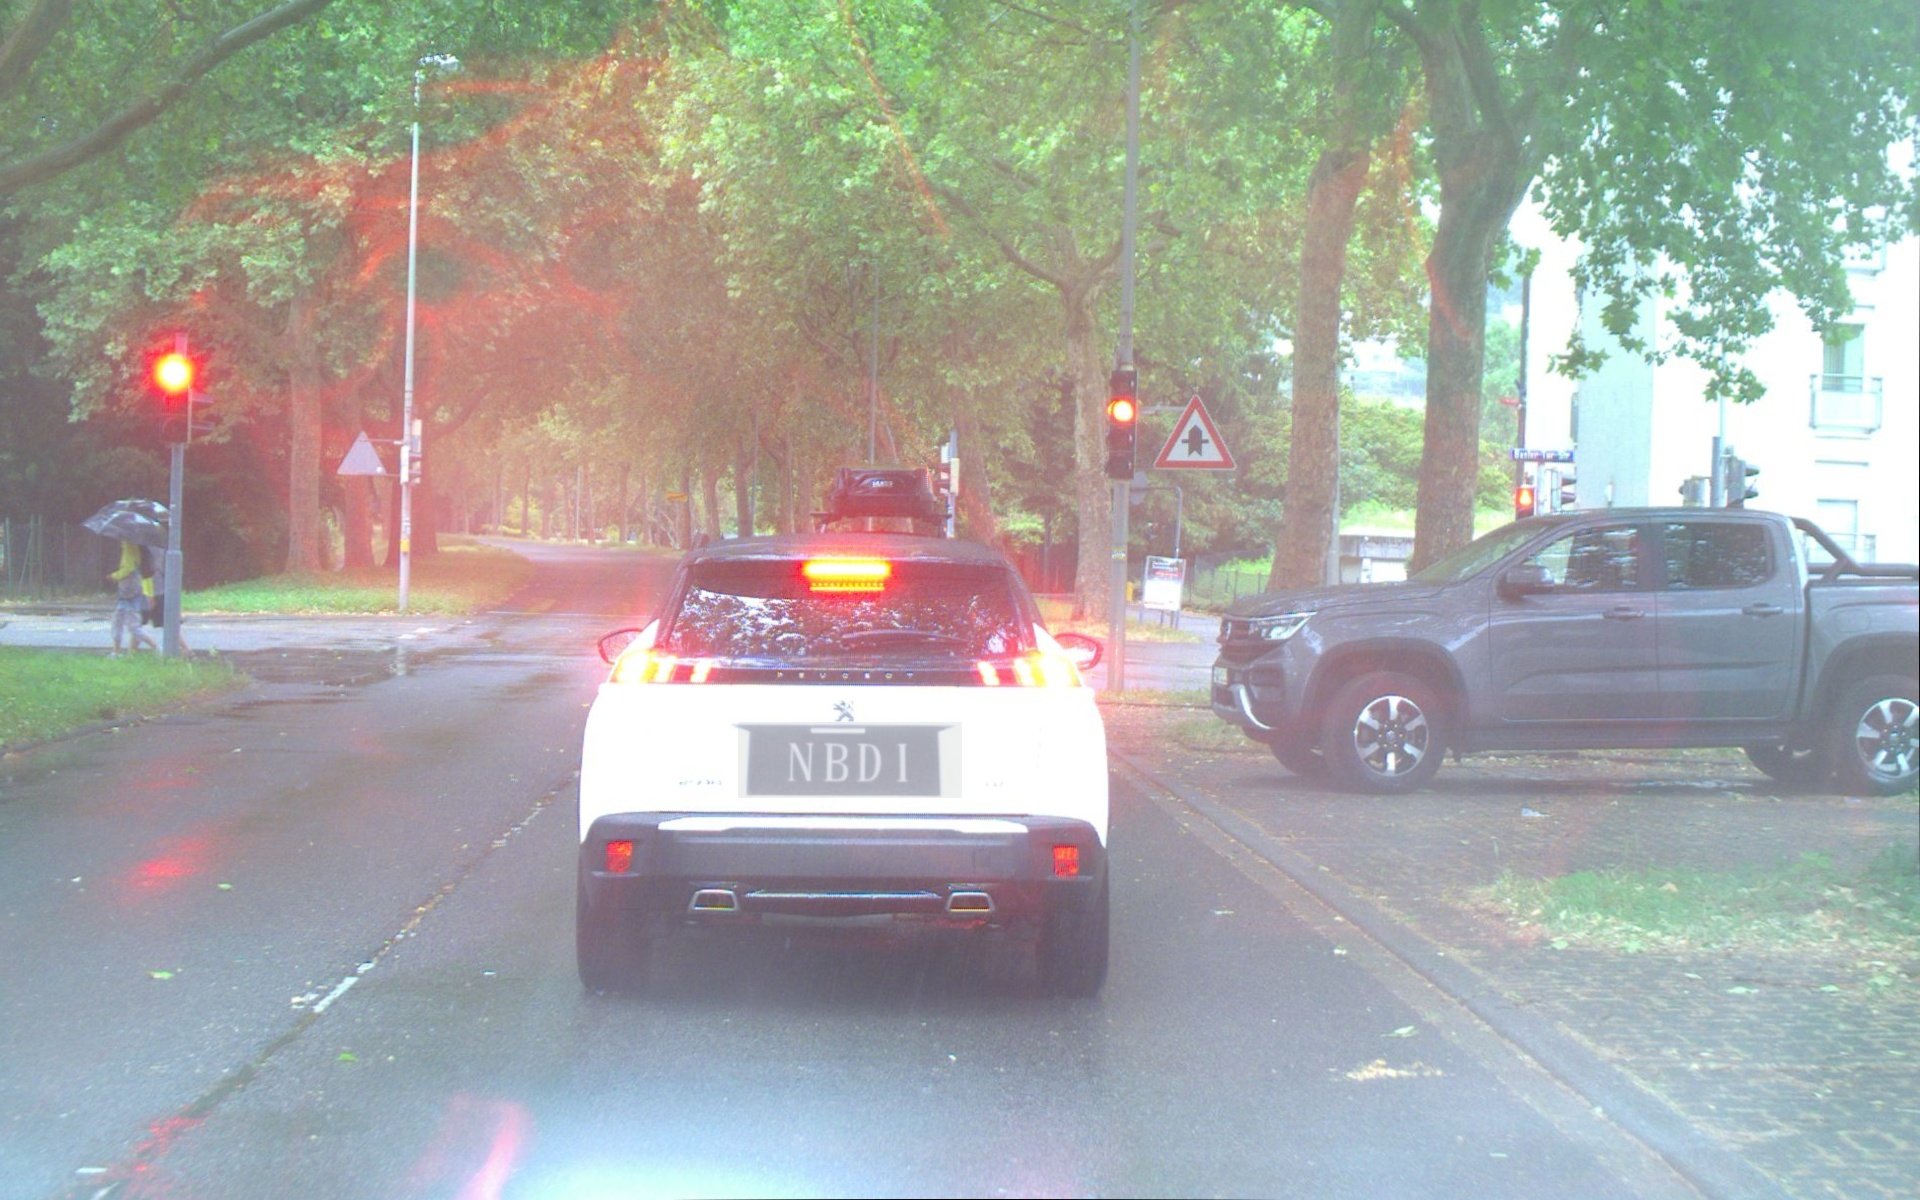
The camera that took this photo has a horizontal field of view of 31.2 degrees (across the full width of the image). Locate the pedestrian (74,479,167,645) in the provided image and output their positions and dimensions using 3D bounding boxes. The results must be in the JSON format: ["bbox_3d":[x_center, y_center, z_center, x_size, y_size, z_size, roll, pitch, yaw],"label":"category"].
[{"bbox_3d":[-9.010,-0.409,36.907,0.820,1.738,0.640,2,1,-3],"label":"pedestrian"}]

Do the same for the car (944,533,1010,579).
[{"bbox_3d":[0.558,-1.530,117.986,1.905,1.504,3.932,1,1,-4],"label":"car"}]

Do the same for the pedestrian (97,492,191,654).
[{"bbox_3d":[-8.988,-0.300,37.871,0.858,1.738,0.640,2,1,-3],"label":"pedestrian"}]

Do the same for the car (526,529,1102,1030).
[{"bbox_3d":[-0.487,0.524,12.809,1.780,1.531,4.058,1,1,-1],"label":"car"}]

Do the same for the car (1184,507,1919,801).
[{"bbox_3d":[4.252,0.314,22.226,5.337,1.800,1.846,0,1,-7],"label":"car"}]
